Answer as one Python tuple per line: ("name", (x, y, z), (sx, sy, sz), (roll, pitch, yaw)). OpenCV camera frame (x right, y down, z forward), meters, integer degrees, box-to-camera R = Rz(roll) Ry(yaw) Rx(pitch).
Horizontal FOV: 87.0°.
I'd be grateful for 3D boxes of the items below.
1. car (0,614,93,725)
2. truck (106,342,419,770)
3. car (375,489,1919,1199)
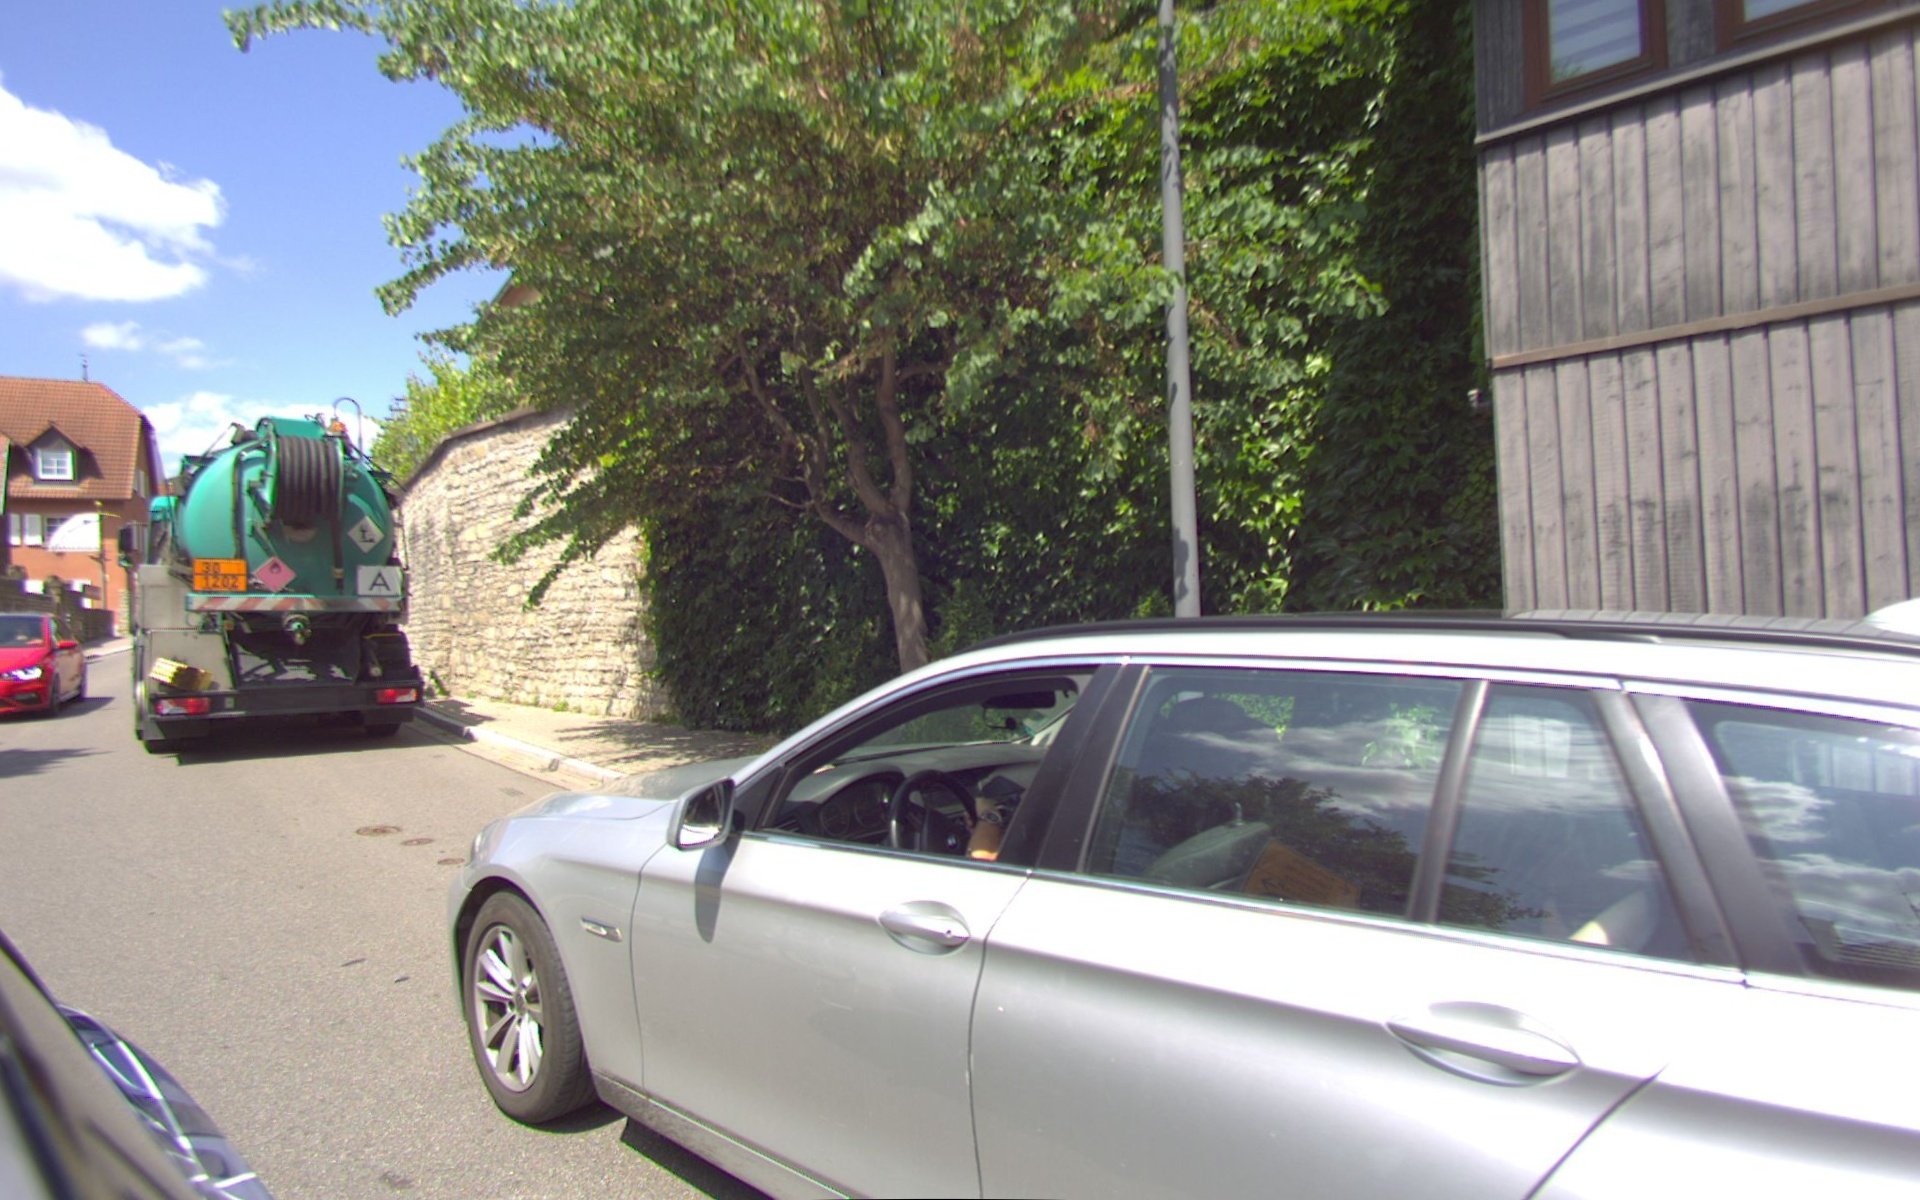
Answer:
("car", (-13.262, 0.894, 13.834), (1.642, 1.362, 3.504), (0, 0, -32))
("truck", (-9.429, -0.278, 13.176), (2.381, 3.686, 9.584), (1, -2, -39))
("car", (0.563, 0.693, 2.497), (4.606, 1.512, 1.877), (-2, -2, 38))
